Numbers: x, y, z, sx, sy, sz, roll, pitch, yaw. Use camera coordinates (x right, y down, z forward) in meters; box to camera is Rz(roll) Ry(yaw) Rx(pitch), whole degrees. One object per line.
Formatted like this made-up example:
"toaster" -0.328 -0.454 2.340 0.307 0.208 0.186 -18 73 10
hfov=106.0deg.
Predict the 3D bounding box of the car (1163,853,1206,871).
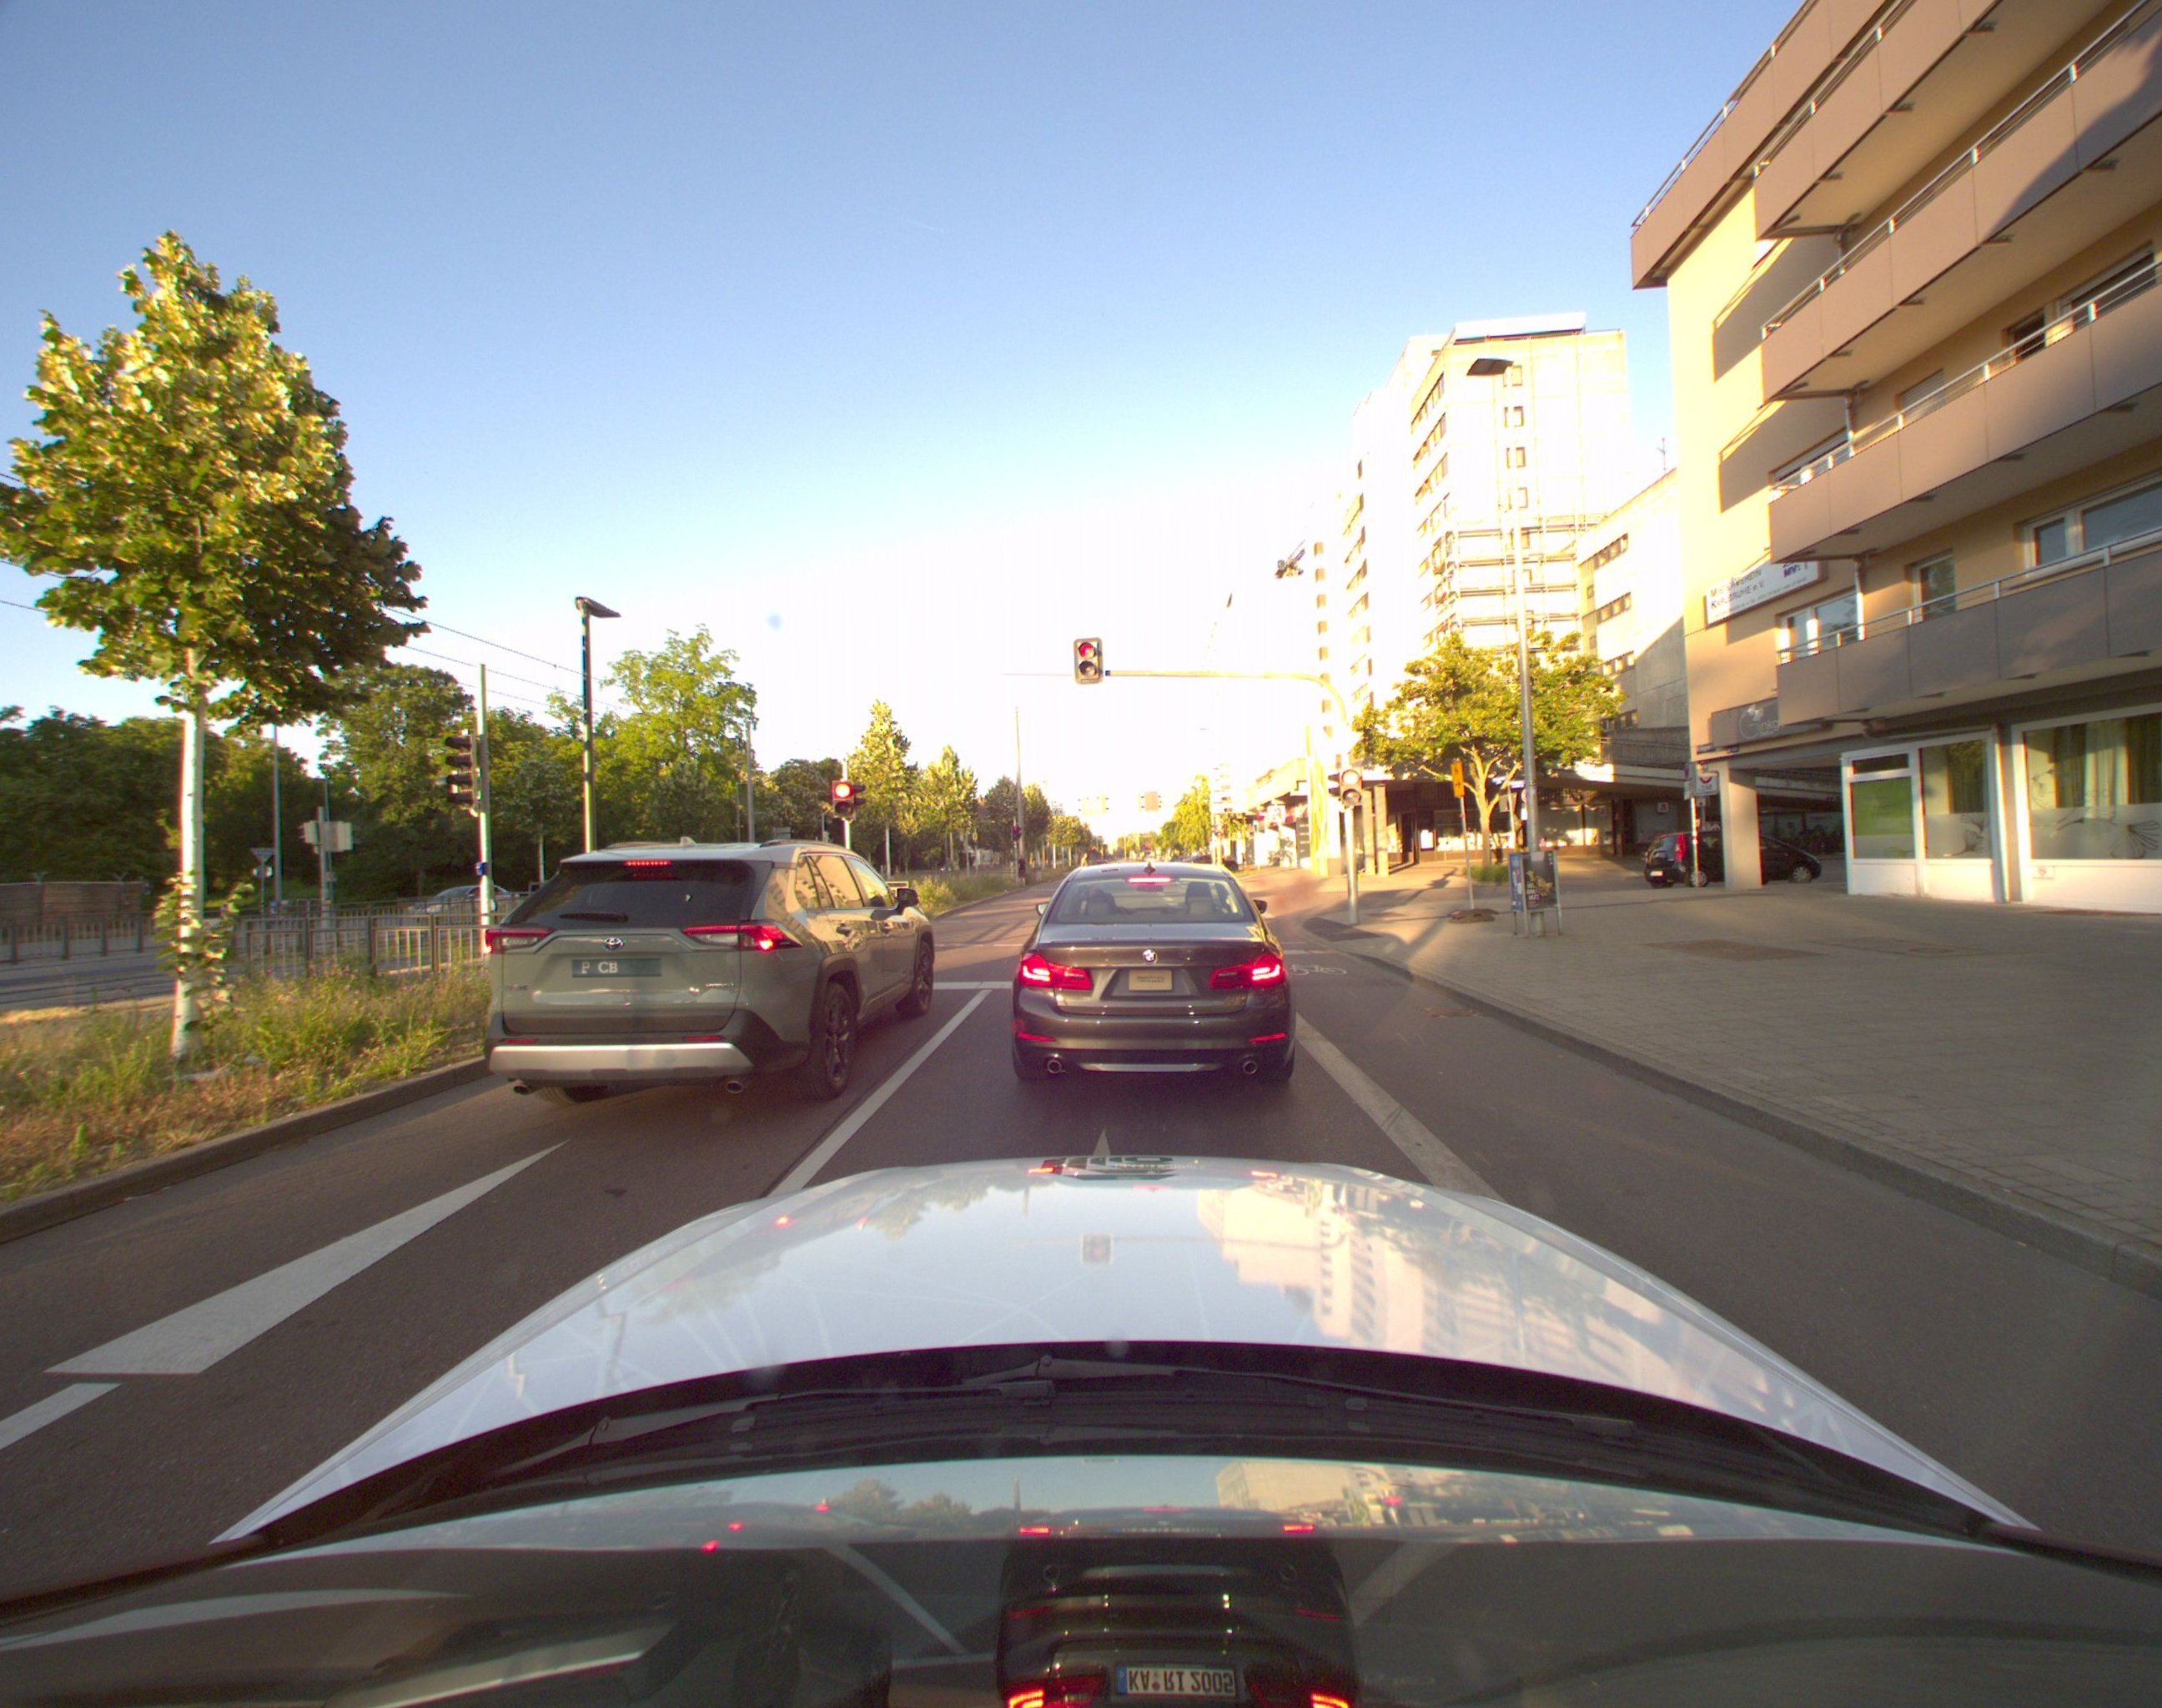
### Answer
"car" 10.806 0.815 85.070 4.284 1.658 1.841 -2 1 -33

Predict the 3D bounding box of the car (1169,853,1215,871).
"car" 10.779 0.758 79.016 4.285 1.658 1.841 -2 1 -34

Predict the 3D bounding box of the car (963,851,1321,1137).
"car" 0.516 0.765 6.712 1.923 1.481 4.529 -1 1 5

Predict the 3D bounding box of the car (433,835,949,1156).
"car" -2.400 0.713 6.416 1.847 1.658 4.271 -1 1 2

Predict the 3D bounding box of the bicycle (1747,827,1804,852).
"bicycle" 31.816 -0.637 37.334 0.582 1.075 1.966 1 -1 -17

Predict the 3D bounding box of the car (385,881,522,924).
"car" -26.804 2.021 35.029 1.982 1.481 4.532 -1 1 8

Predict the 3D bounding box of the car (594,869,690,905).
"car" -21.315 1.570 39.802 1.985 1.481 4.527 -1 1 4

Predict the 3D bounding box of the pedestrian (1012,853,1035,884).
"pedestrian" -2.960 0.748 42.186 0.816 1.586 0.828 -2 -1 -38

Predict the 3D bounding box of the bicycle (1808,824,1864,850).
"bicycle" 34.039 -0.754 36.752 0.579 1.075 1.974 1 -1 -4

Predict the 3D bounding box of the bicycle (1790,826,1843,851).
"bicycle" 33.450 -0.704 37.076 0.579 1.075 1.976 1 -1 -1

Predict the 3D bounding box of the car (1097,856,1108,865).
"car" 3.882 1.098 147.072 1.971 1.433 4.846 -1 1 2

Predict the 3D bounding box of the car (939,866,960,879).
"car" -16.571 2.274 102.711 1.792 1.481 3.786 -2 0 3

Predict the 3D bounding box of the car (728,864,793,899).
"car" -22.422 1.904 57.249 1.981 2.168 4.764 -1 1 10

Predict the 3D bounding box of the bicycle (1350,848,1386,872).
"bicycle" 14.477 0.309 41.141 0.690 1.149 2.012 1 -1 -16

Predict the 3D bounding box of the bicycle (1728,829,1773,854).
"bicycle" 30.287 -0.554 36.872 0.578 1.075 1.980 1 -1 5

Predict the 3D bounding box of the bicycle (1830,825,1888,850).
"bicycle" 35.281 -0.731 36.977 0.580 1.075 1.971 1 -1 -9

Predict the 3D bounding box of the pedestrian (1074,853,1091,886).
"pedestrian" 0.091 0.814 43.631 0.832 1.712 0.648 -2 -1 1

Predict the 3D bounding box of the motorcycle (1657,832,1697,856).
"motorcycle" 27.631 -0.453 37.784 0.642 1.075 1.879 1 -1 5

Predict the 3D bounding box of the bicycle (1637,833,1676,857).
"bicycle" 26.975 -0.393 38.221 0.578 1.075 1.980 1 -1 5

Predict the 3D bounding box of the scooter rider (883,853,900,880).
"scooter rider" -11.237 0.738 48.308 0.824 1.514 0.648 -2 -1 -22

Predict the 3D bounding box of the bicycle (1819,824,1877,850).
"bicycle" 34.654 -0.754 36.821 0.580 1.075 1.971 1 -1 -9

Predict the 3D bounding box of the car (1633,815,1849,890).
"car" 17.170 0.002 21.381 4.020 1.585 1.708 -4 -4 6

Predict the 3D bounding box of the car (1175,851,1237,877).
"car" 8.708 0.637 56.479 4.291 1.658 1.839 -2 1 -40

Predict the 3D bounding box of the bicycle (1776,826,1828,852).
"bicycle" 32.891 -0.669 37.174 0.579 1.075 1.976 1 -1 -1

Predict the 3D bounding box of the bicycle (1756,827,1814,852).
"bicycle" 32.293 -0.653 37.392 0.583 1.075 1.963 1 -1 -21

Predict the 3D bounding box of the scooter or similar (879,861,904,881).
"scooter or similar" -11.221 1.015 48.274 1.335 1.153 0.510 -2 -1 -22

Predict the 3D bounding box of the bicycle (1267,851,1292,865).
"bicycle" 16.760 0.373 68.733 2.005 1.149 0.692 0 -1 8
